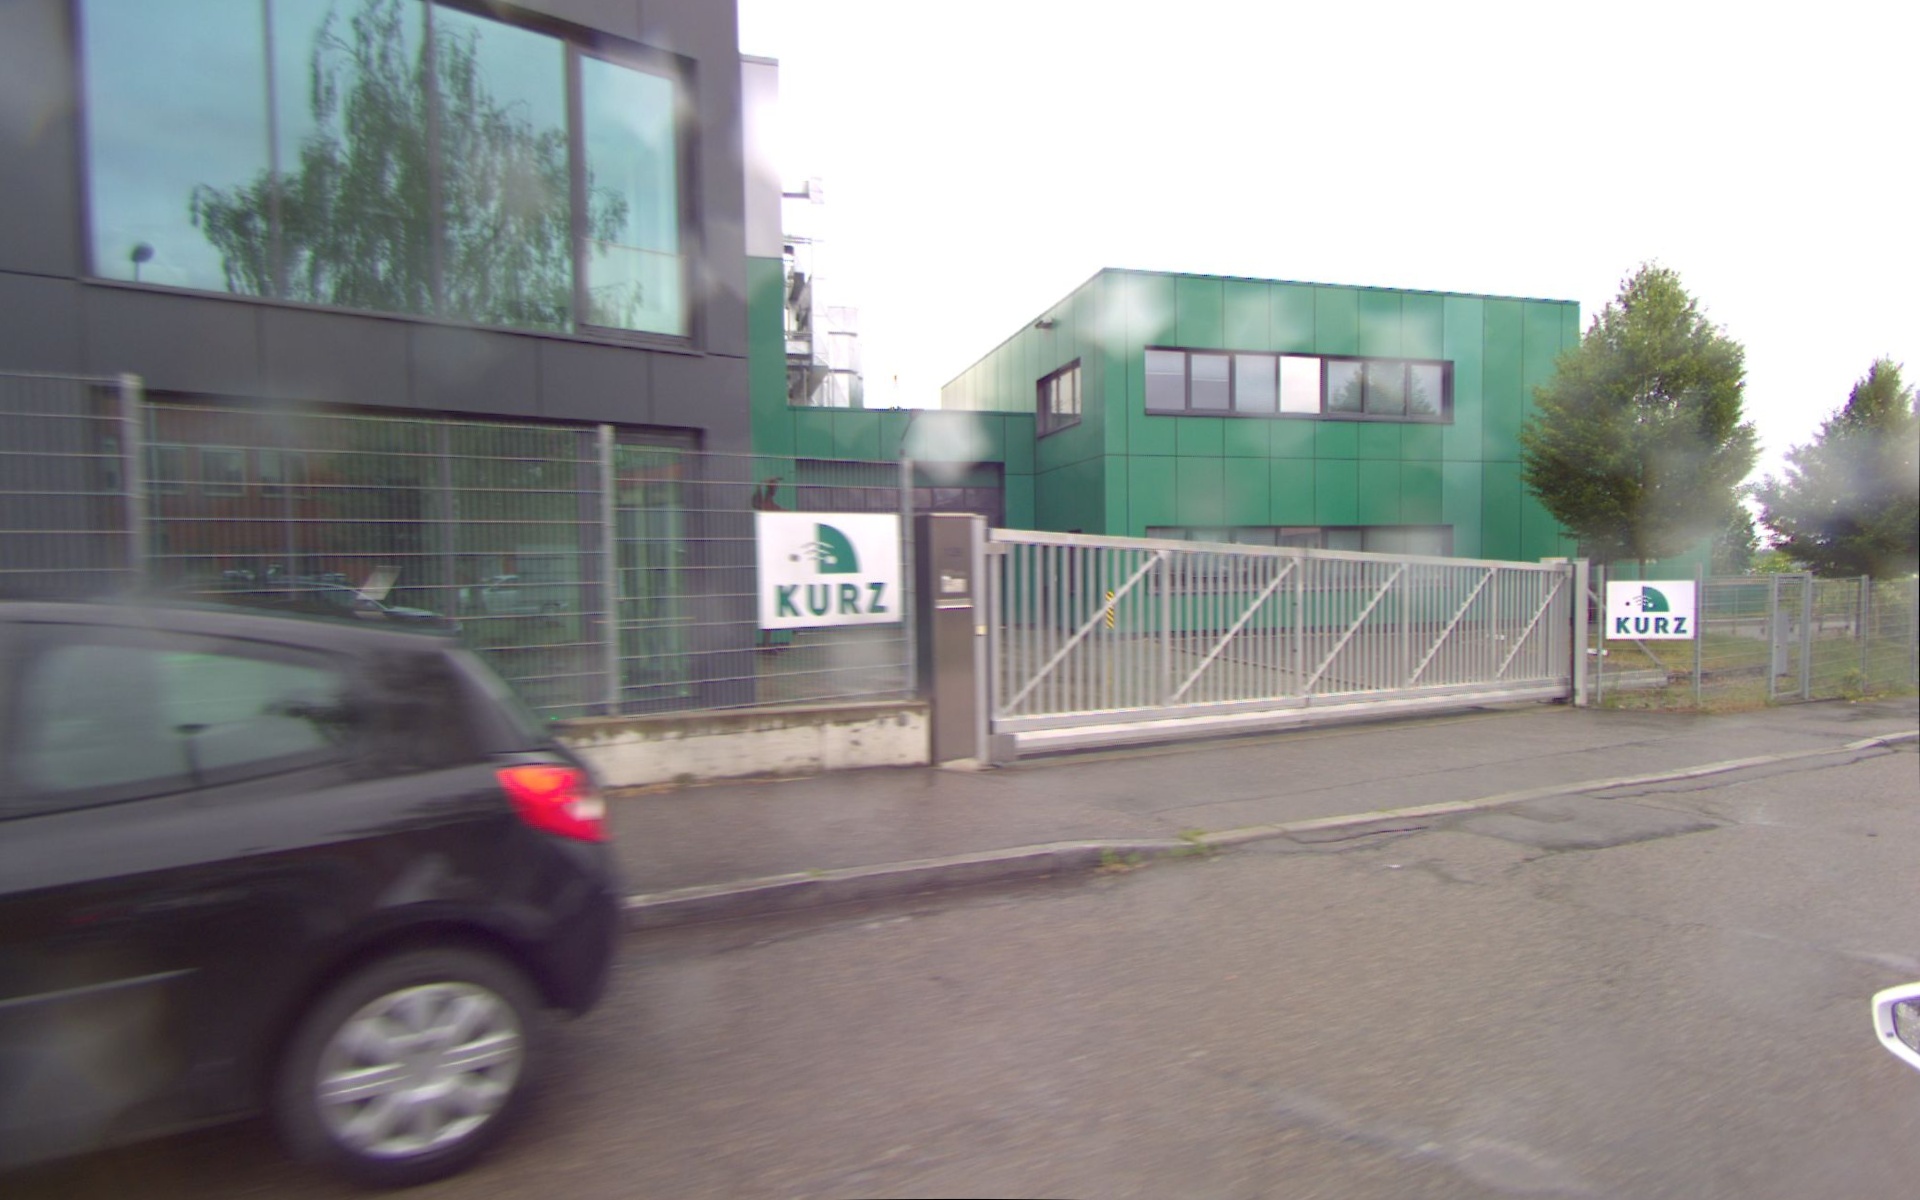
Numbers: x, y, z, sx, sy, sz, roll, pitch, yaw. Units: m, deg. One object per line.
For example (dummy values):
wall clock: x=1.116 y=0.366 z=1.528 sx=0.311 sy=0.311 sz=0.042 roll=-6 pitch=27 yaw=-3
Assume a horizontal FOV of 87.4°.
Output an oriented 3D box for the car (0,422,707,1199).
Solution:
car: x=-2.836 y=0.524 z=2.617 sx=3.909 sy=1.821 sz=1.732 roll=2 pitch=0 yaw=-28
